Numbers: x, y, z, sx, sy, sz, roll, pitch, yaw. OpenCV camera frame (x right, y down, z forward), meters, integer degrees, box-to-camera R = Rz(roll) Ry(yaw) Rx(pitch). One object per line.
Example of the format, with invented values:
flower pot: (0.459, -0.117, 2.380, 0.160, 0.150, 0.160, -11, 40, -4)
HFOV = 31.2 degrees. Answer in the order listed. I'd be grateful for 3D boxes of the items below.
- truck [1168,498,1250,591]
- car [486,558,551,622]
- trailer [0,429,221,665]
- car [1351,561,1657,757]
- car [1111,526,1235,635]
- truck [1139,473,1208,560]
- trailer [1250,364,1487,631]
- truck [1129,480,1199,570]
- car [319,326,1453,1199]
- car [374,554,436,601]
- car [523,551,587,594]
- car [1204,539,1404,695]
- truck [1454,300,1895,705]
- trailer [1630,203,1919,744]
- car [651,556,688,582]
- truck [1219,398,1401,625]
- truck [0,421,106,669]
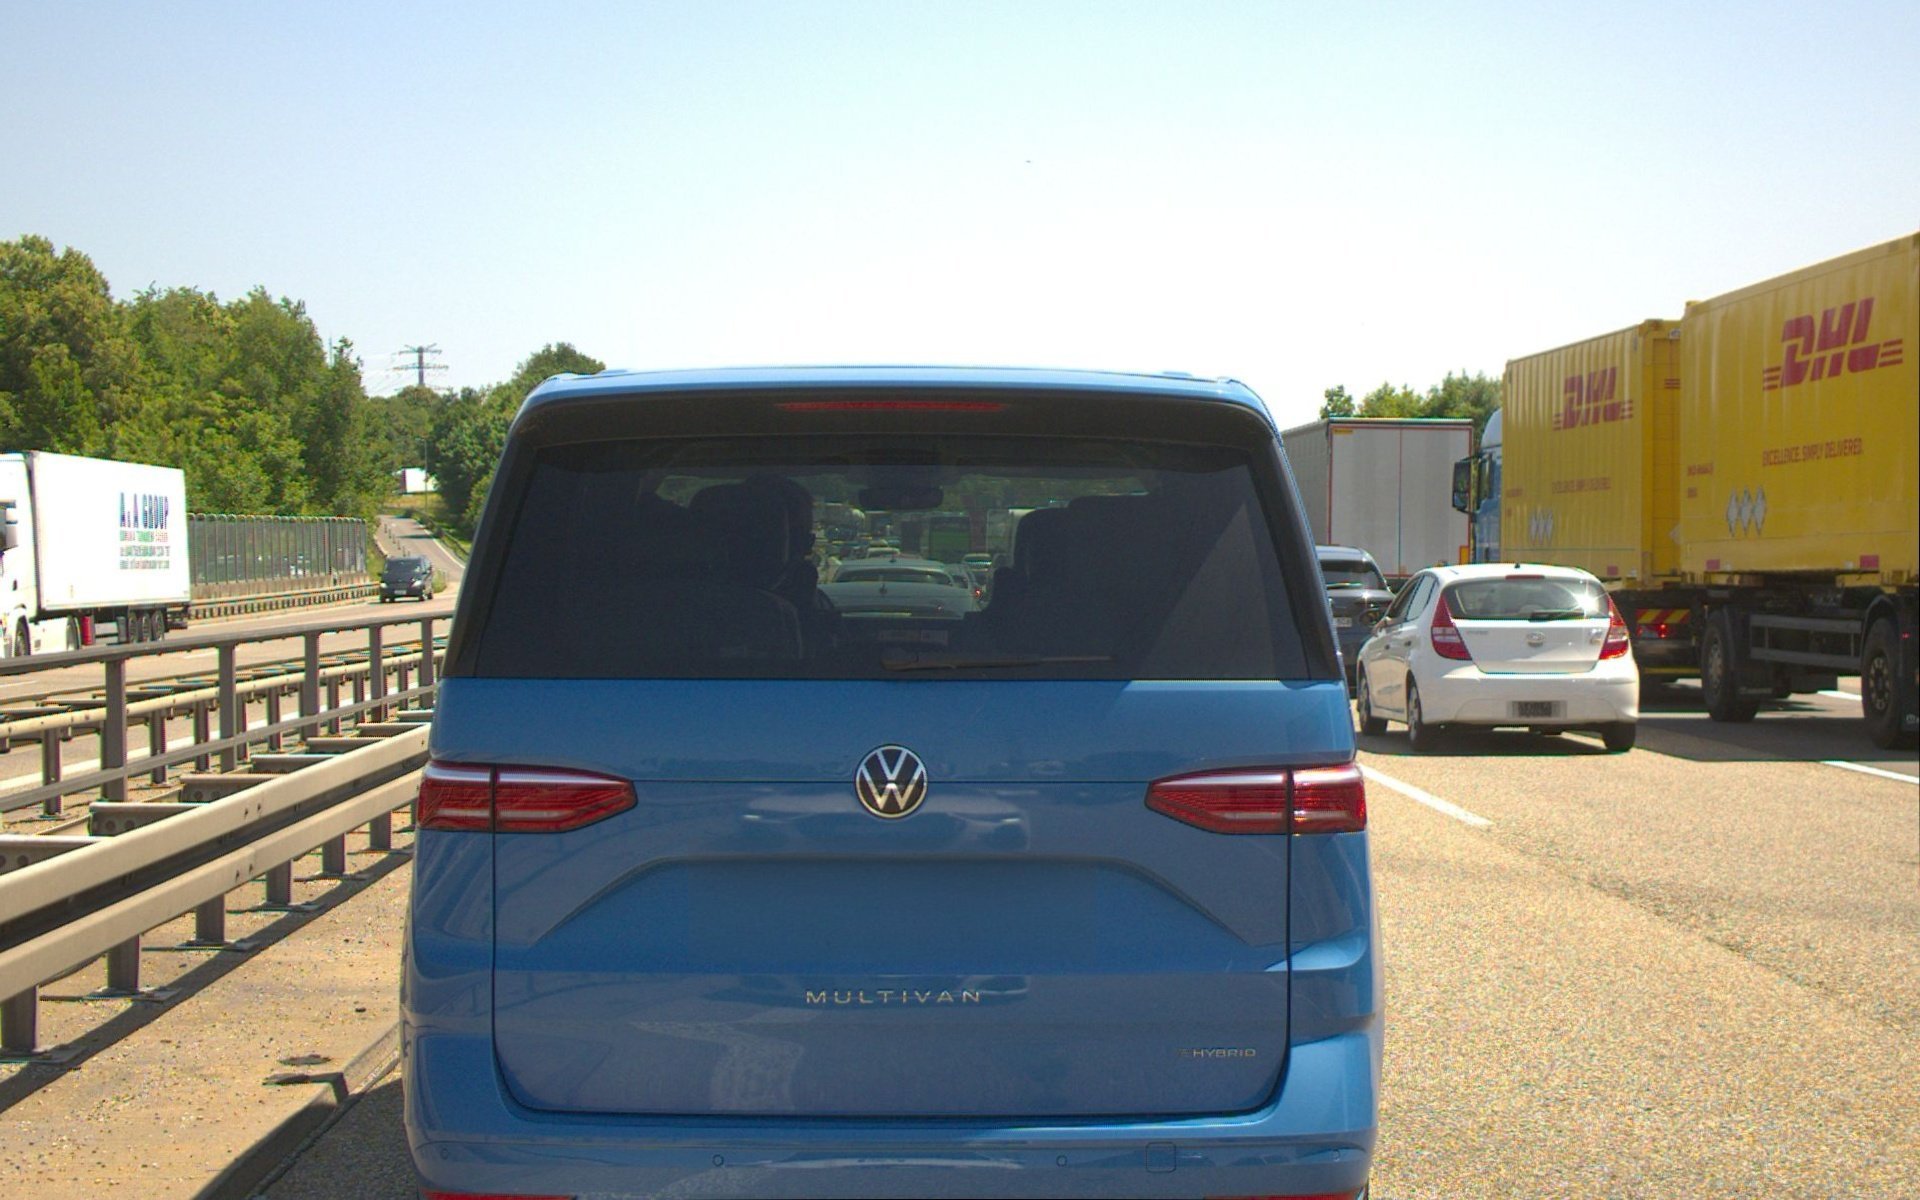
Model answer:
truck: (6.715, -1.474, 93.044, 1.798, 2.441, 4.504, 1, 0, -1)
car: (-18.625, -0.430, 145.193, 1.993, 2.573, 6.651, -2, 0, -2)
trailer: (-17.975, -0.971, 69.862, 2.906, 4.292, 13.661, -2, 0, 0)
car: (4.374, 0.441, 28.188, 1.815, 1.465, 3.932, 1, 0, -1)
car: (3.903, -0.355, 63.638, 1.962, 1.929, 3.932, 1, 0, -1)
truck: (6.614, -2.578, 106.859, 1.797, 2.587, 4.305, 1, 0, -1)
trailer: (7.545, -1.802, 65.082, 3.026, 4.595, 10.925, 1, 0, 0)
truck: (5.993, -2.191, 101.448, 1.742, 2.540, 4.210, 1, 0, -1)
car: (-0.158, 0.469, 7.921, 1.930, 1.867, 4.000, 1, 0, -1)
car: (-23.648, -0.936, 146.534, 1.957, 1.899, 4.951, -2, 0, -2)
car: (-14.691, -1.021, 124.813, 1.772, 1.486, 4.605, -1, 1, 0)
car: (3.900, 0.177, 39.517, 1.815, 1.673, 3.932, 1, 0, -1)
truck: (7.981, -1.014, 39.946, 2.699, 4.074, 9.940, 1, 0, -2)
trailer: (8.336, -0.955, 30.415, 2.682, 4.074, 8.981, 1, 0, -2)
car: (-18.338, -1.946, 217.232, 1.993, 1.539, 4.386, -2, 0, 0)
truck: (7.481, -1.833, 74.513, 3.026, 4.595, 7.921, 1, 0, 0)
truck: (-17.952, -0.904, 62.475, 2.929, 4.279, 6.858, -3, 0, 0)
